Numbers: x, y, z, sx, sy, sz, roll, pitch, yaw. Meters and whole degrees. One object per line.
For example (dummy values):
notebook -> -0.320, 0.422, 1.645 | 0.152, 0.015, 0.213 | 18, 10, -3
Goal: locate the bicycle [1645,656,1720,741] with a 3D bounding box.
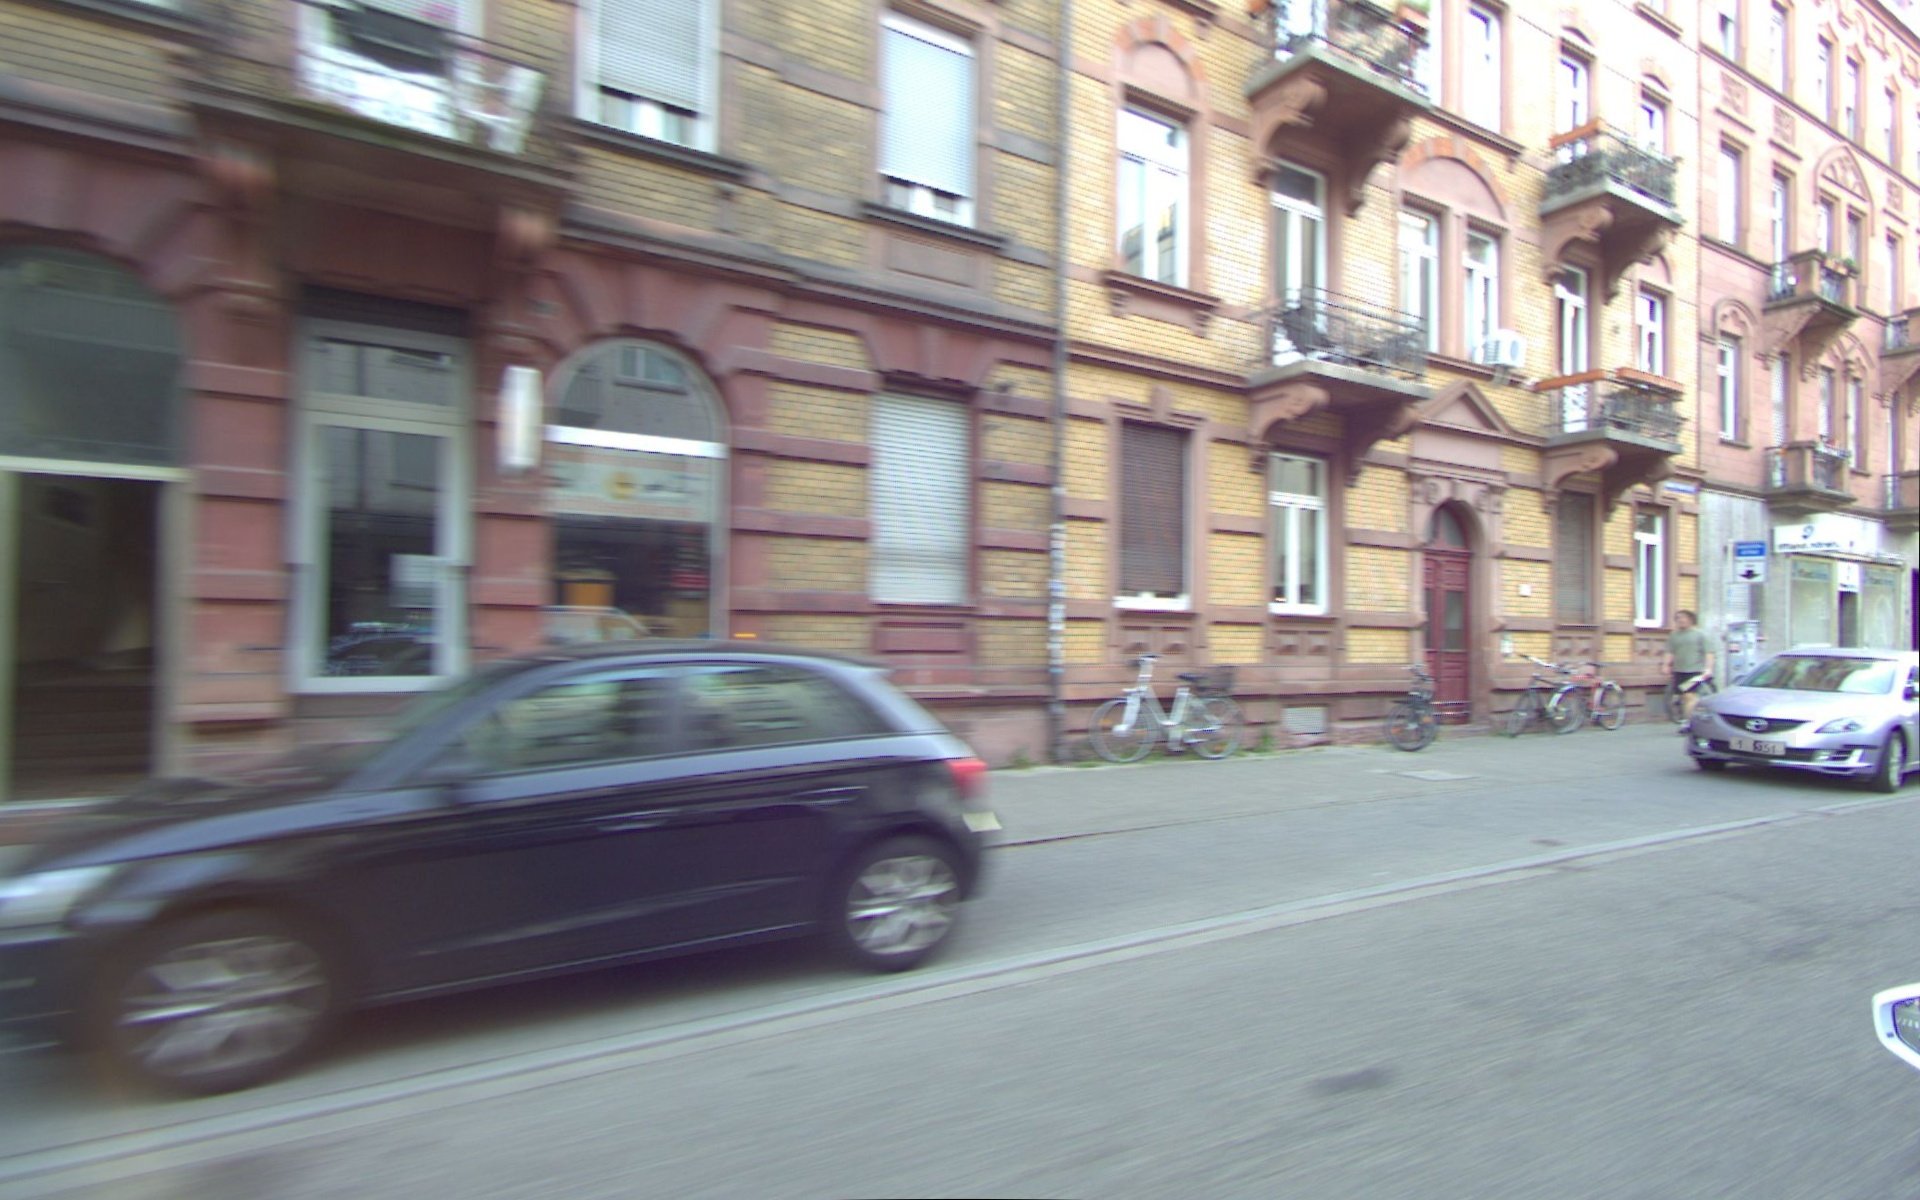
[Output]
bicycle -> 11.211, 1.502, 15.562 | 0.700, 1.212, 1.731 | 0, -2, 44

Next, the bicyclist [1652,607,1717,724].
bicyclist -> 11.248, 1.002, 15.593 | 0.700, 1.752, 0.838 | 0, -2, 44

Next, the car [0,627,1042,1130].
car -> -1.688, 0.870, 4.499 | 3.806, 1.439, 1.687 | 1, -1, -28

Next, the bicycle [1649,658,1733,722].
bicycle -> 12.677, 1.541, 17.405 | 1.826, 1.036, 0.447 | 2, 2, -31

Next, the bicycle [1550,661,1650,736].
bicycle -> 9.923, 1.506, 15.564 | 1.739, 1.051, 0.546 | 1, 1, -31

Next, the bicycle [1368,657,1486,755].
bicycle -> 6.070, 1.336, 13.035 | 1.596, 1.138, 0.732 | 1, 0, -37

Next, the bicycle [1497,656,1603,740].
bicycle -> 8.735, 1.421, 14.853 | 1.739, 1.138, 0.546 | 1, 1, -31

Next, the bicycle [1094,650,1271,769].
bicycle -> 2.463, 1.162, 11.015 | 2.022, 1.186, 0.525 | 1, 0, -28

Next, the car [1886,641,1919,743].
car -> 15.462, 1.357, 14.883 | 3.653, 1.439, 1.577 | 1, -1, -30

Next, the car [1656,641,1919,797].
car -> 10.124, 1.250, 11.617 | 4.530, 1.439, 1.714 | 2, -1, -31
